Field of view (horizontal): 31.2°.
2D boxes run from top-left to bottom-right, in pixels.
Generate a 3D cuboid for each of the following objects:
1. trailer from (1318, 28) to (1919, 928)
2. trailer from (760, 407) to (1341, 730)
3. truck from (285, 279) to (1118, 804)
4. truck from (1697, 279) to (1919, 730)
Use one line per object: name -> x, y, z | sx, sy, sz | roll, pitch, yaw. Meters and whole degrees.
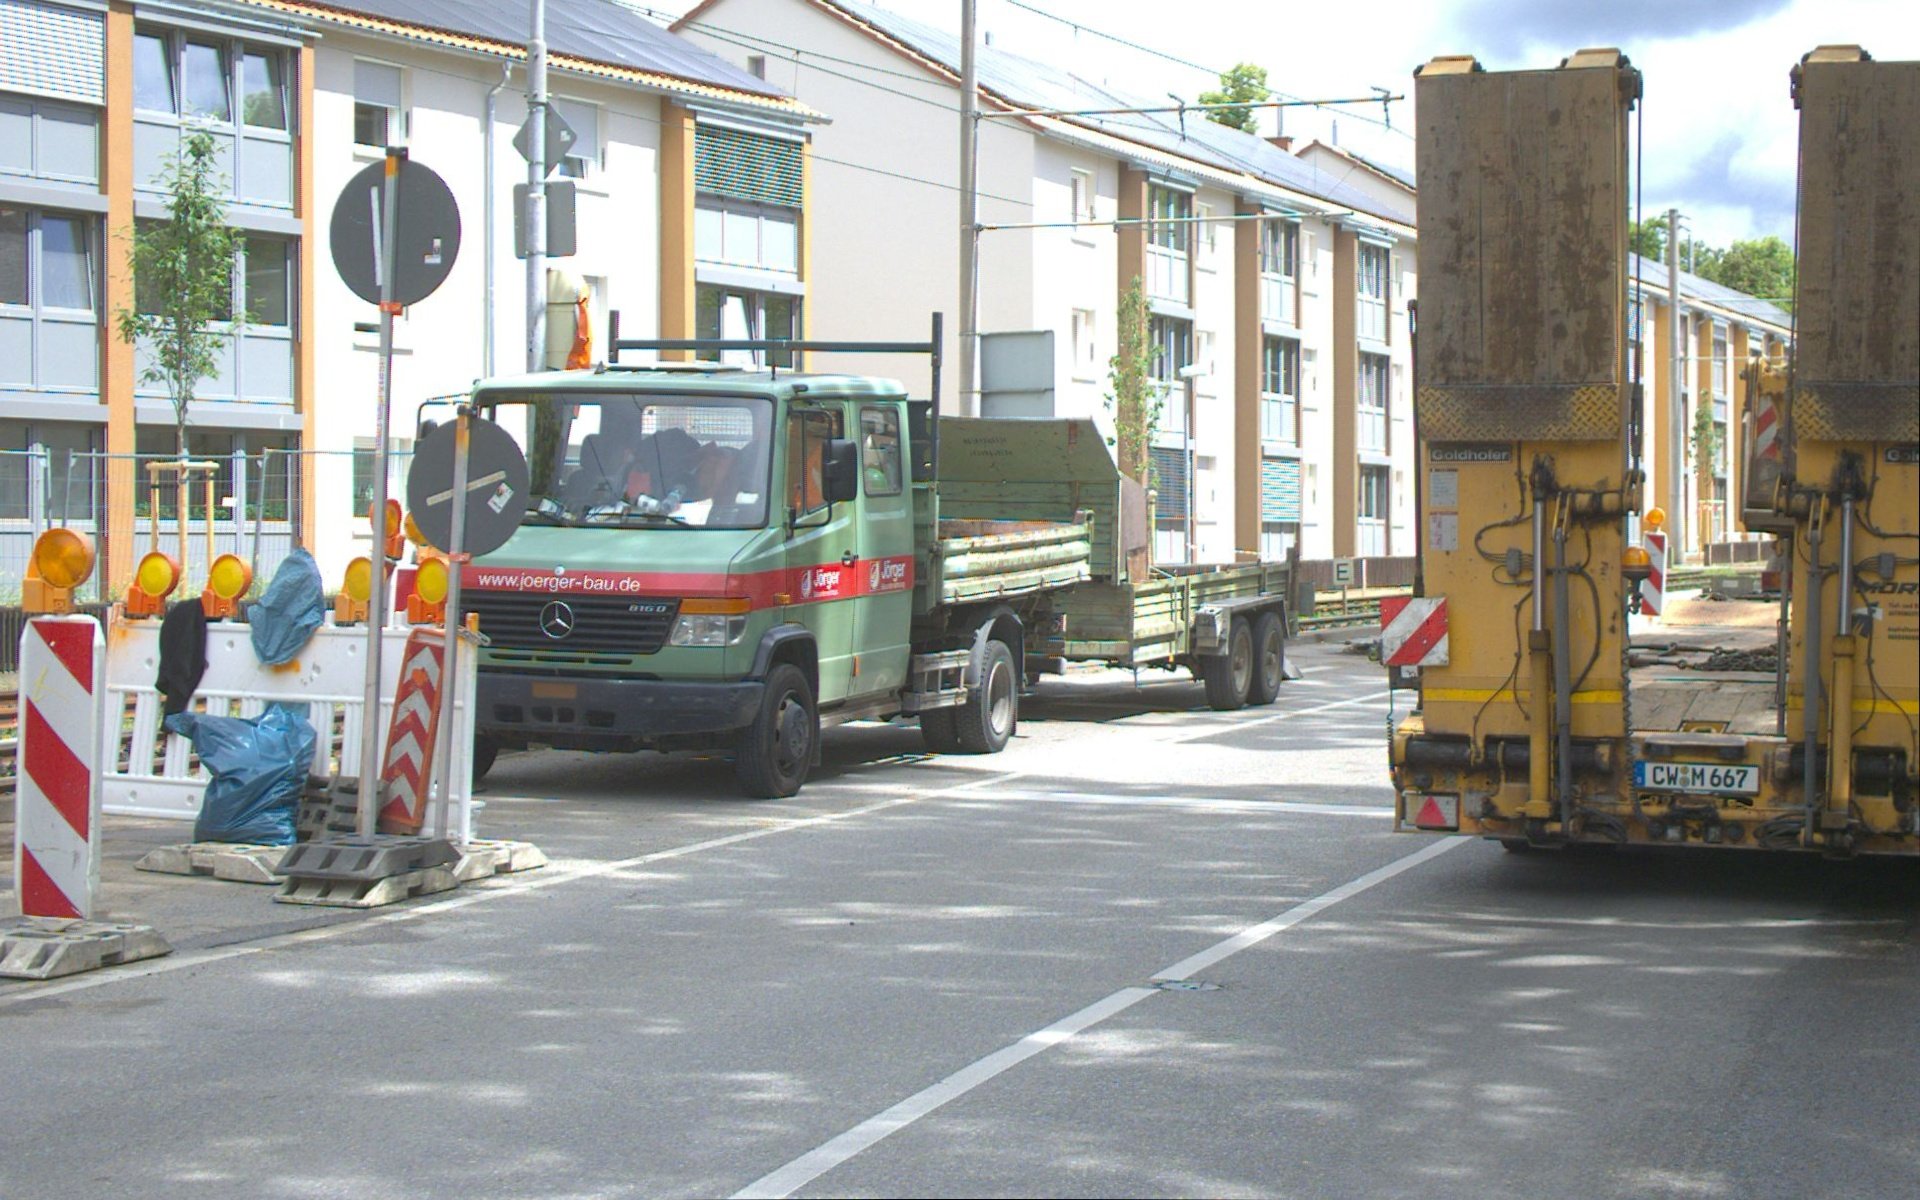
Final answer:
trailer -> 4.715, -0.625, 18.954 | 2.825, 3.512, 11.041 | 2, 2, 20
trailer -> 0.920, -0.314, 27.146 | 2.665, 2.206, 6.242 | 2, 2, 20
truck -> -1.296, -0.412, 21.243 | 2.665, 2.716, 6.389 | 2, 2, 20
truck -> 8.091, -0.754, 27.705 | 2.920, 3.156, 7.672 | 2, 2, 21
